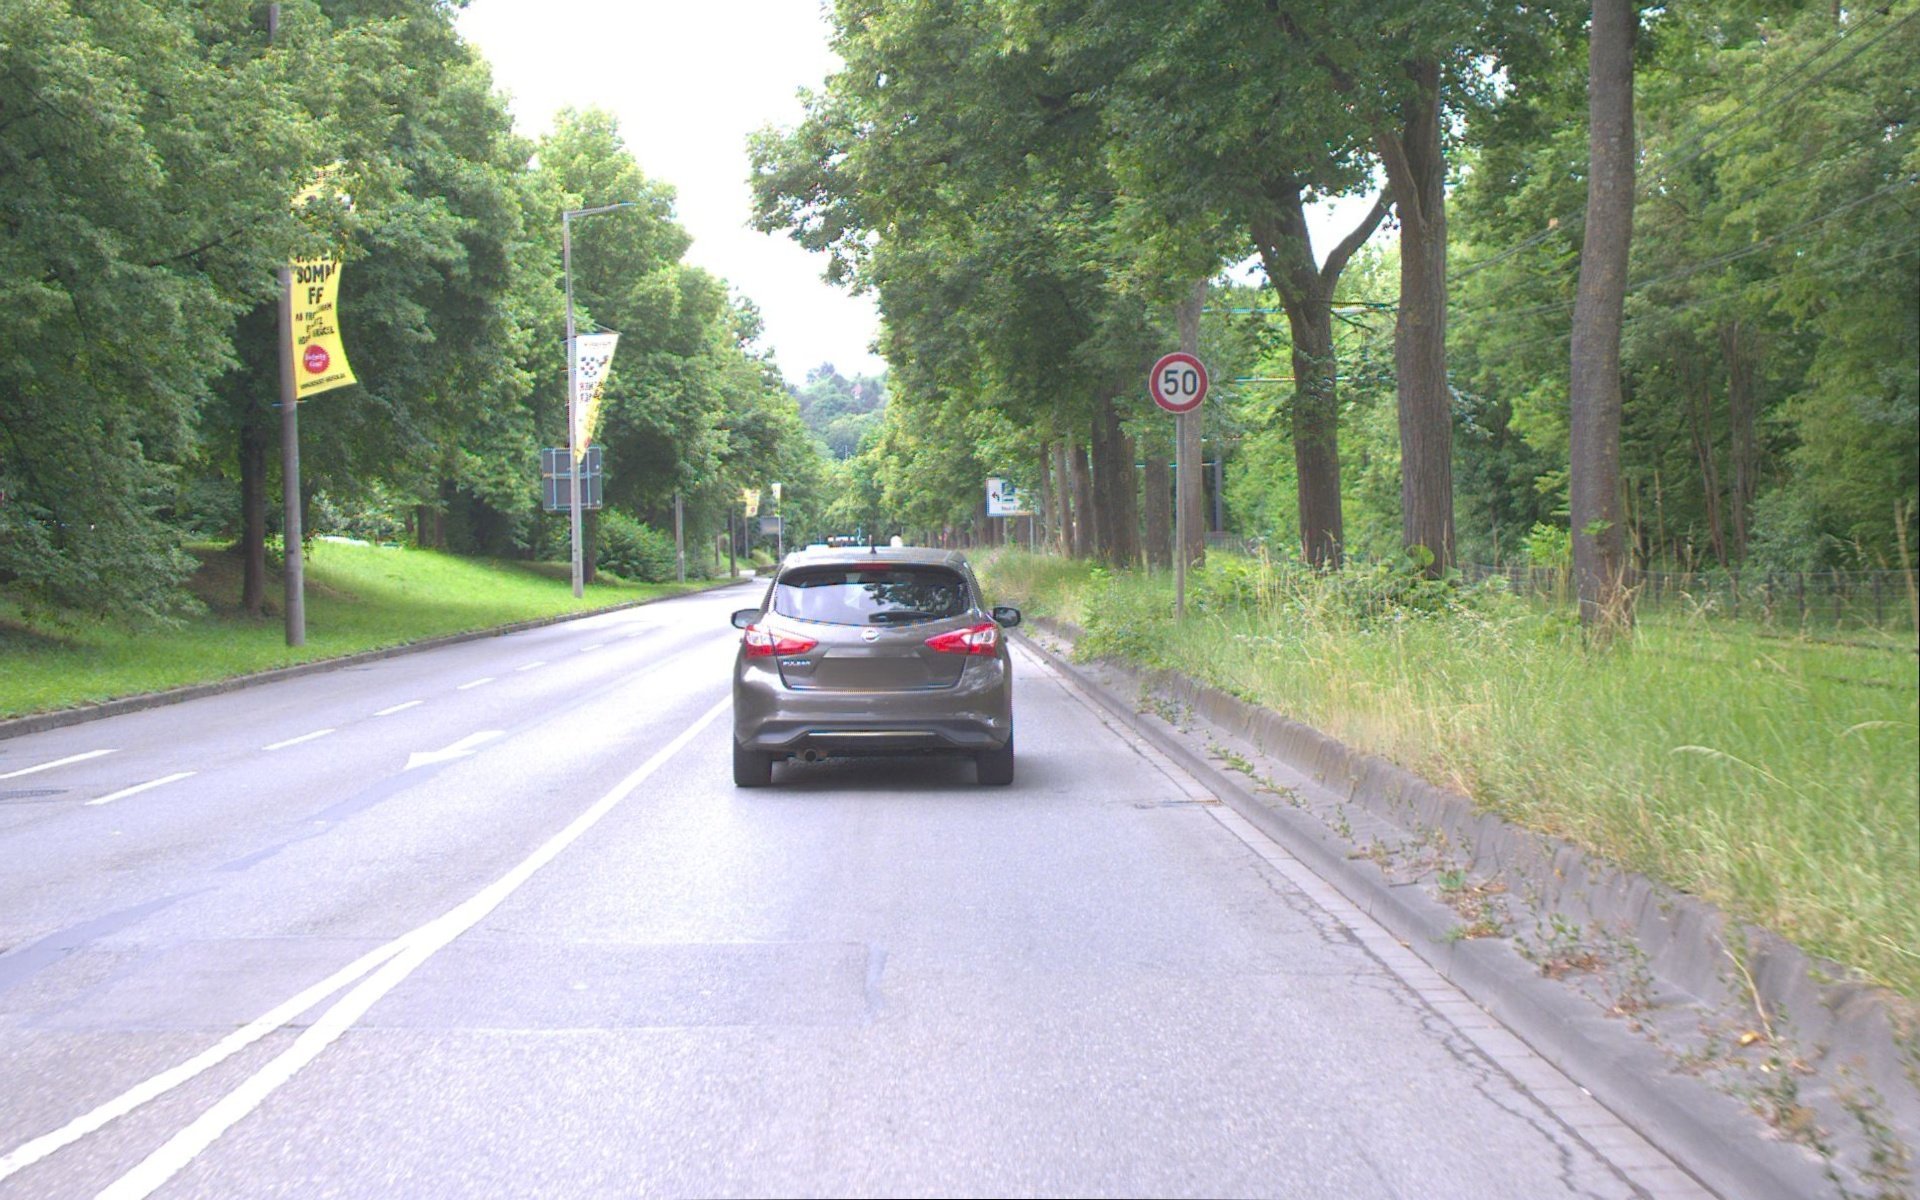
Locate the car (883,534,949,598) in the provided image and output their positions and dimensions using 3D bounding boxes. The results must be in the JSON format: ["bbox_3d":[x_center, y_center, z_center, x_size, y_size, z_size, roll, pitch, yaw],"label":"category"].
[{"bbox_3d":[-1.069,-0.847,84.438,1.503,1.523,3.671,0,1,1],"label":"car"}]

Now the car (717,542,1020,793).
[{"bbox_3d":[-0.527,0.383,22.879,1.837,1.523,3.929,0,1,1],"label":"car"}]
